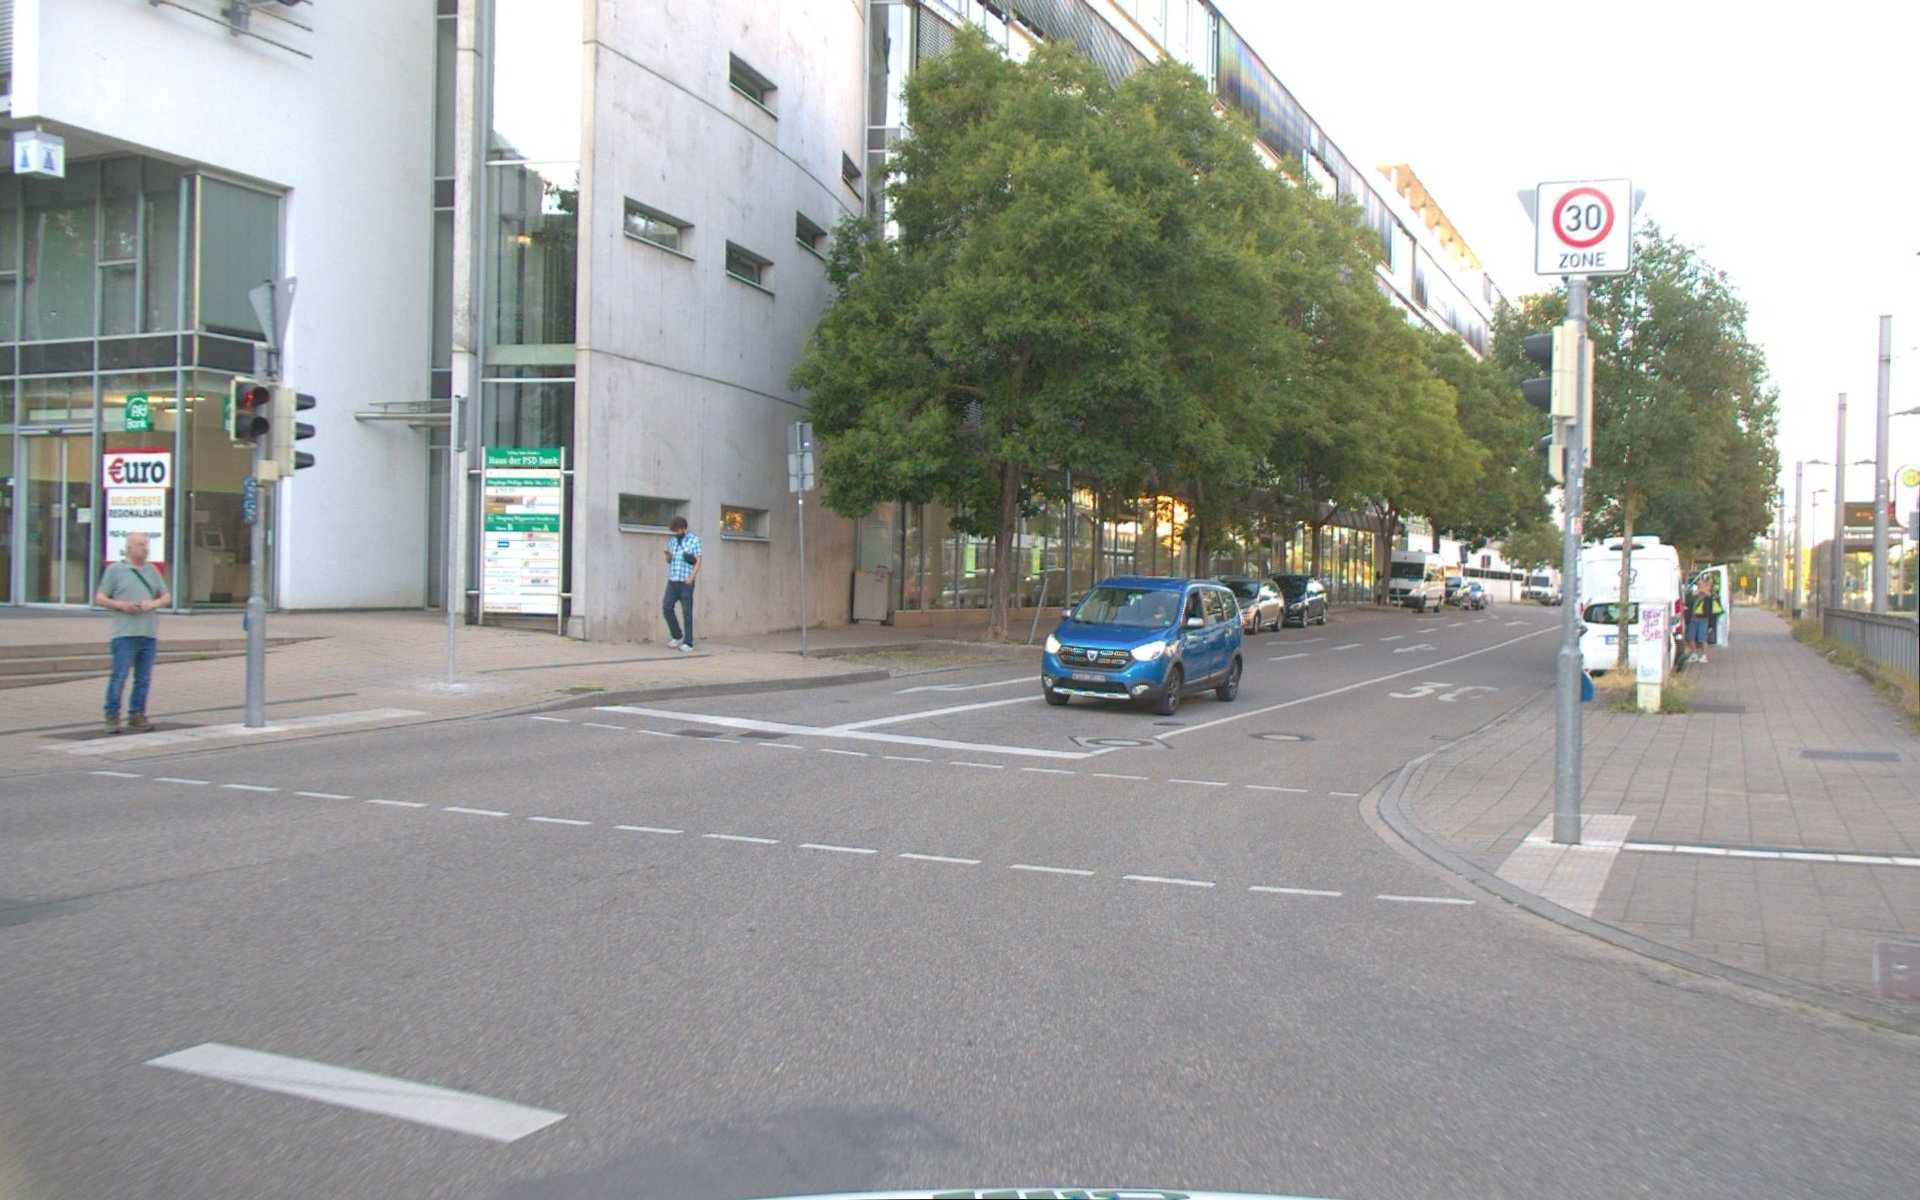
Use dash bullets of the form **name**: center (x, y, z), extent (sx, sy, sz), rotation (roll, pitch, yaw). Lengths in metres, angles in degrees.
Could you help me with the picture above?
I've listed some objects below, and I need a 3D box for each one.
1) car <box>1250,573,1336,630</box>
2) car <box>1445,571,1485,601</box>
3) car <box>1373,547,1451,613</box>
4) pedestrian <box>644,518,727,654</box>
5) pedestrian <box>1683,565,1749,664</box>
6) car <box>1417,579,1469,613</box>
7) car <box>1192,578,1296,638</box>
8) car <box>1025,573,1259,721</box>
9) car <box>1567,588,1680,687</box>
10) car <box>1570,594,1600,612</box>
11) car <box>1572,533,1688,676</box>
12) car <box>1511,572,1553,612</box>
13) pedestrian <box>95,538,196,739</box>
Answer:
- **car**: center (10.417, 0.017, 51.554), extent (1.559, 1.595, 4.468), rotation (5, 2, 25)
- **car**: center (26.352, -0.716, 86.227), extent (1.679, 1.477, 4.399), rotation (2, 1, 21)
- **car**: center (19.665, -0.860, 71.723), extent (2.059, 2.710, 6.946), rotation (2, 1, 25)
- **pedestrian**: center (-4.095, -0.216, 24.736), extent (0.684, 1.914, 0.879), rotation (8, 3, 18)
- **pedestrian**: center (15.958, 0.293, 34.925), extent (0.962, 2.049, 0.803), rotation (1, 0, -20)
- **car**: center (23.921, -0.192, 81.827), extent (1.808, 1.599, 4.264), rotation (2, 1, 25)
- **car**: center (8.024, 0.188, 46.405), extent (1.670, 1.486, 4.624), rotation (5, 2, 25)
- **car**: center (2.535, 0.548, 22.061), extent (1.714, 1.707, 4.269), rotation (3, 1, 26)
- **car**: center (11.883, 0.630, 29.505), extent (1.712, 1.611, 4.011), rotation (-2, -1, 23)
- **car**: center (55.238, 0.228, 146.080), extent (1.691, 1.482, 4.261), rotation (4, 2, 31)
- **car**: center (14.067, 0.093, 34.598), extent (2.009, 2.704, 5.432), rotation (-2, -1, 23)
- **car**: center (41.531, -0.586, 120.011), extent (1.921, 2.662, 6.885), rotation (4, 2, 26)
- **pedestrian**: center (-7.230, 0.331, 14.682), extent (0.700, 1.731, 0.539), rotation (1, 1, -38)
